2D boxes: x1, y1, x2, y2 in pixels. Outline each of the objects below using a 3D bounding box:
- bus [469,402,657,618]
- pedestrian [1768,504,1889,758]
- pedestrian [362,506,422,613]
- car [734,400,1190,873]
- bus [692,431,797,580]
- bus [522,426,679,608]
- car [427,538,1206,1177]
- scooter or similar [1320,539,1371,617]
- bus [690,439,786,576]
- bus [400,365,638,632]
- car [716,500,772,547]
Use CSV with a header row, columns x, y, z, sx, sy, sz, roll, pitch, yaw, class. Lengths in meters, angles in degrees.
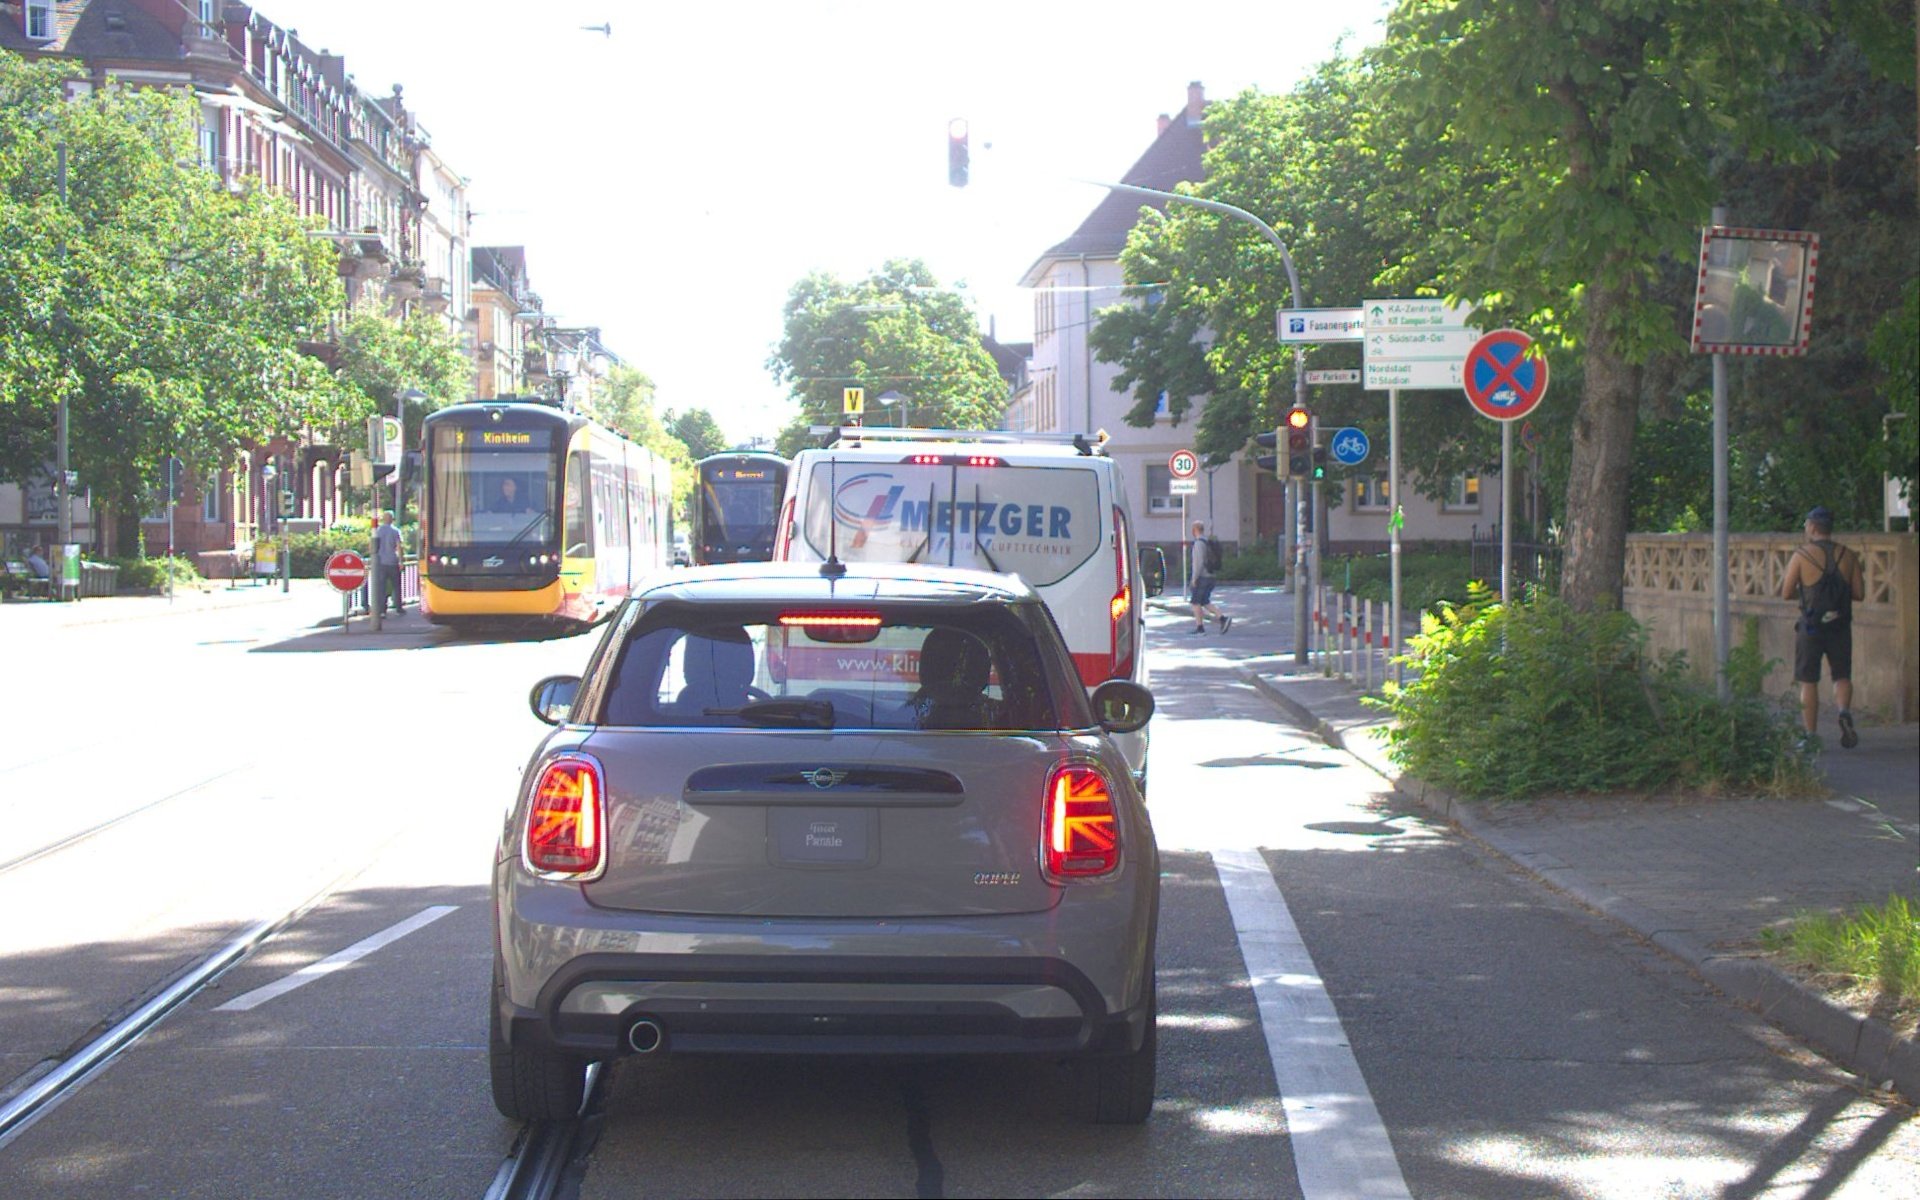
x,y,z,sx,sy,sz,roll,pitch,yaw,class
-7.485,-1.639,66.180,2.859,3.764,11.185,1,1,-3,bus
5.820,0.201,23.057,0.592,1.665,0.647,-2,0,-1,pedestrian
-9.686,-0.683,58.643,0.881,1.795,0.903,1,0,-2,pedestrian
-0.019,0.149,18.661,2.118,2.200,4.945,1,1,-1,car
-5.356,-2.261,84.487,2.385,3.484,7.385,1,1,-5,bus
-7.990,-1.798,77.766,2.849,3.764,12.199,1,1,-3,bus
-0.361,0.588,10.105,1.815,1.483,4.000,1,1,-1,car
6.590,-0.374,58.820,0.676,1.305,1.329,1,0,-1,scooter or similar
-5.991,-2.403,91.902,2.385,3.484,7.385,1,1,-5,bus
-6.825,-1.503,54.804,2.859,3.764,11.499,1,1,-3,bus
-7.405,-2.598,117.538,1.863,1.558,4.001,1,1,-4,car
